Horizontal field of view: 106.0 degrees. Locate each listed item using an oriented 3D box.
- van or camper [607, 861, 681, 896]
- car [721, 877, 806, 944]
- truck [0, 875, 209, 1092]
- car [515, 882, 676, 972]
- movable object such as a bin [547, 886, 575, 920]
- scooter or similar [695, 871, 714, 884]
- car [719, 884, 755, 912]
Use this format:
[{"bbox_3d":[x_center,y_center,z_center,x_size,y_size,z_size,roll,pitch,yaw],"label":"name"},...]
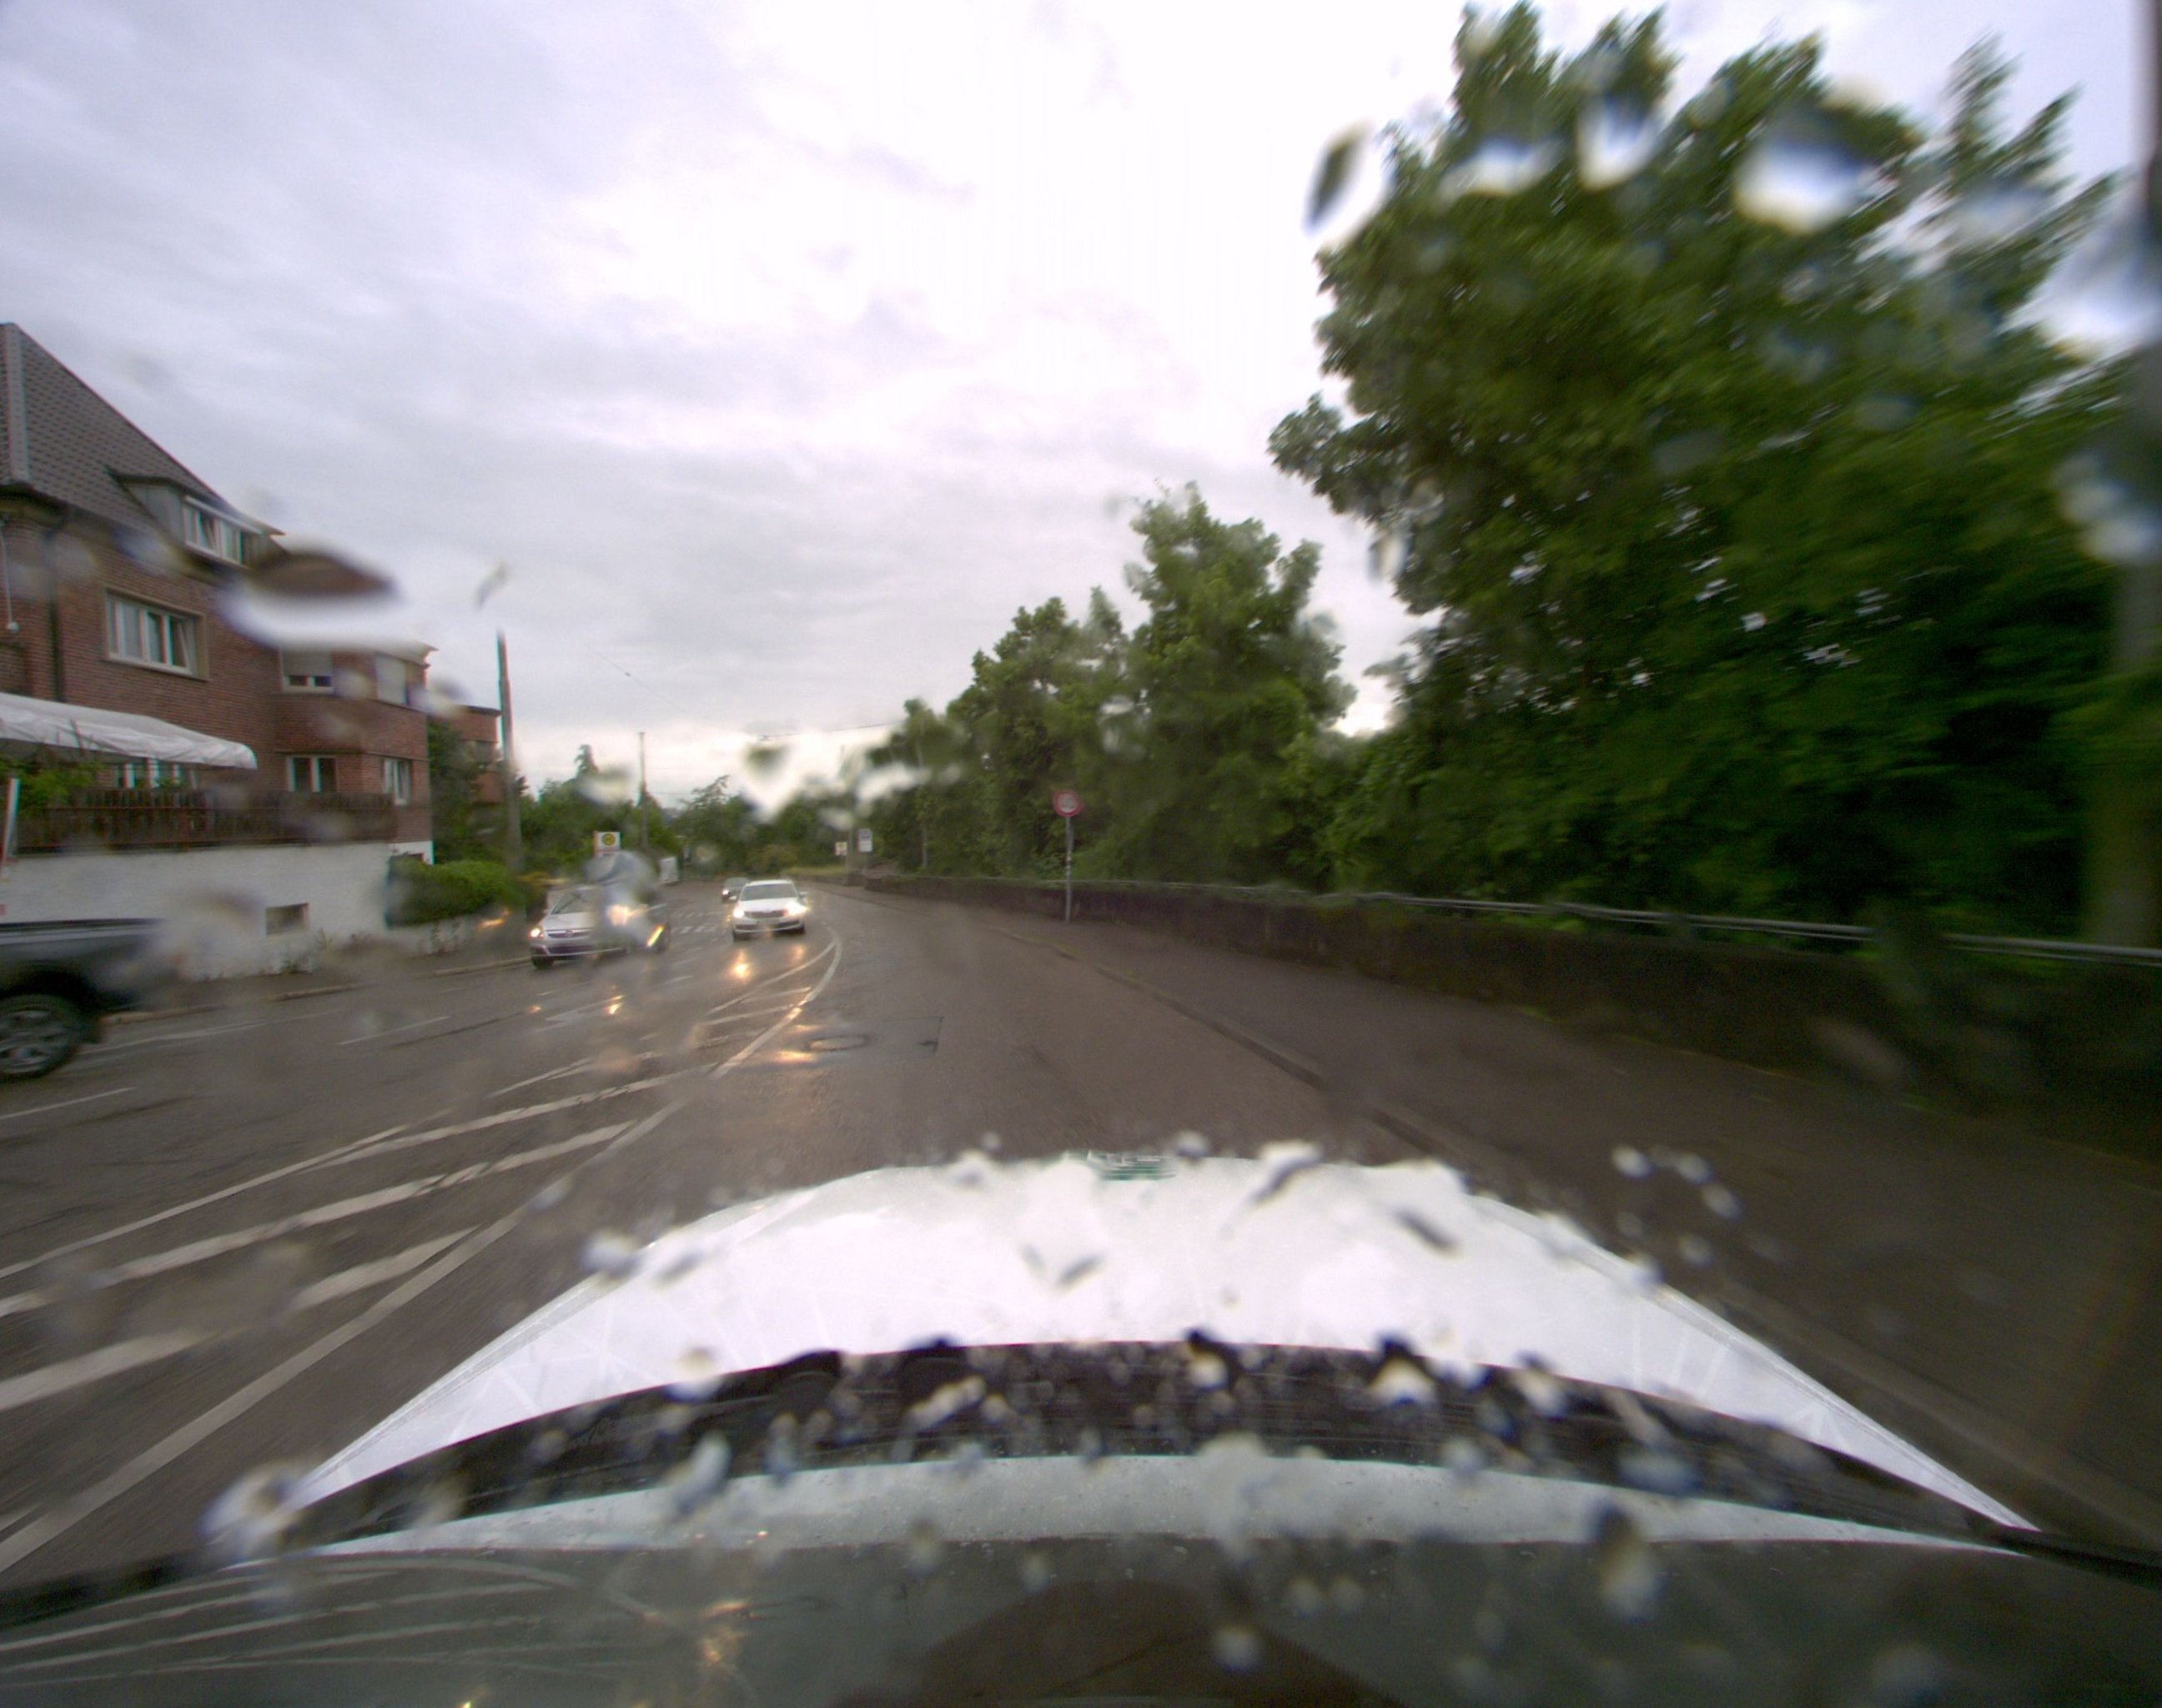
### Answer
[{"bbox_3d":[-45.497,2.517,84.812,6.224,2.942,2.405,-4,5,8],"label":"van or camper"},{"bbox_3d":[-8.545,1.453,22.267,1.853,1.474,4.412,-5,0,-19],"label":"car"},{"bbox_3d":[-10.493,1.157,6.000,1.870,1.848,5.297,-4,-2,12],"label":"truck"},{"bbox_3d":[-10.132,1.429,17.389,1.713,1.585,4.437,-2,-2,-14],"label":"car"},{"bbox_3d":[-17.532,1.649,27.443,0.626,1.081,0.755,1,0,-20],"label":"movable object such as a bin"},{"bbox_3d":[-40.014,2.494,86.530,1.694,1.282,0.453,-5,2,9],"label":"scooter or similar"},{"bbox_3d":[-20.842,2.625,49.468,1.744,1.450,4.582,-5,0,-21],"label":"car"}]
